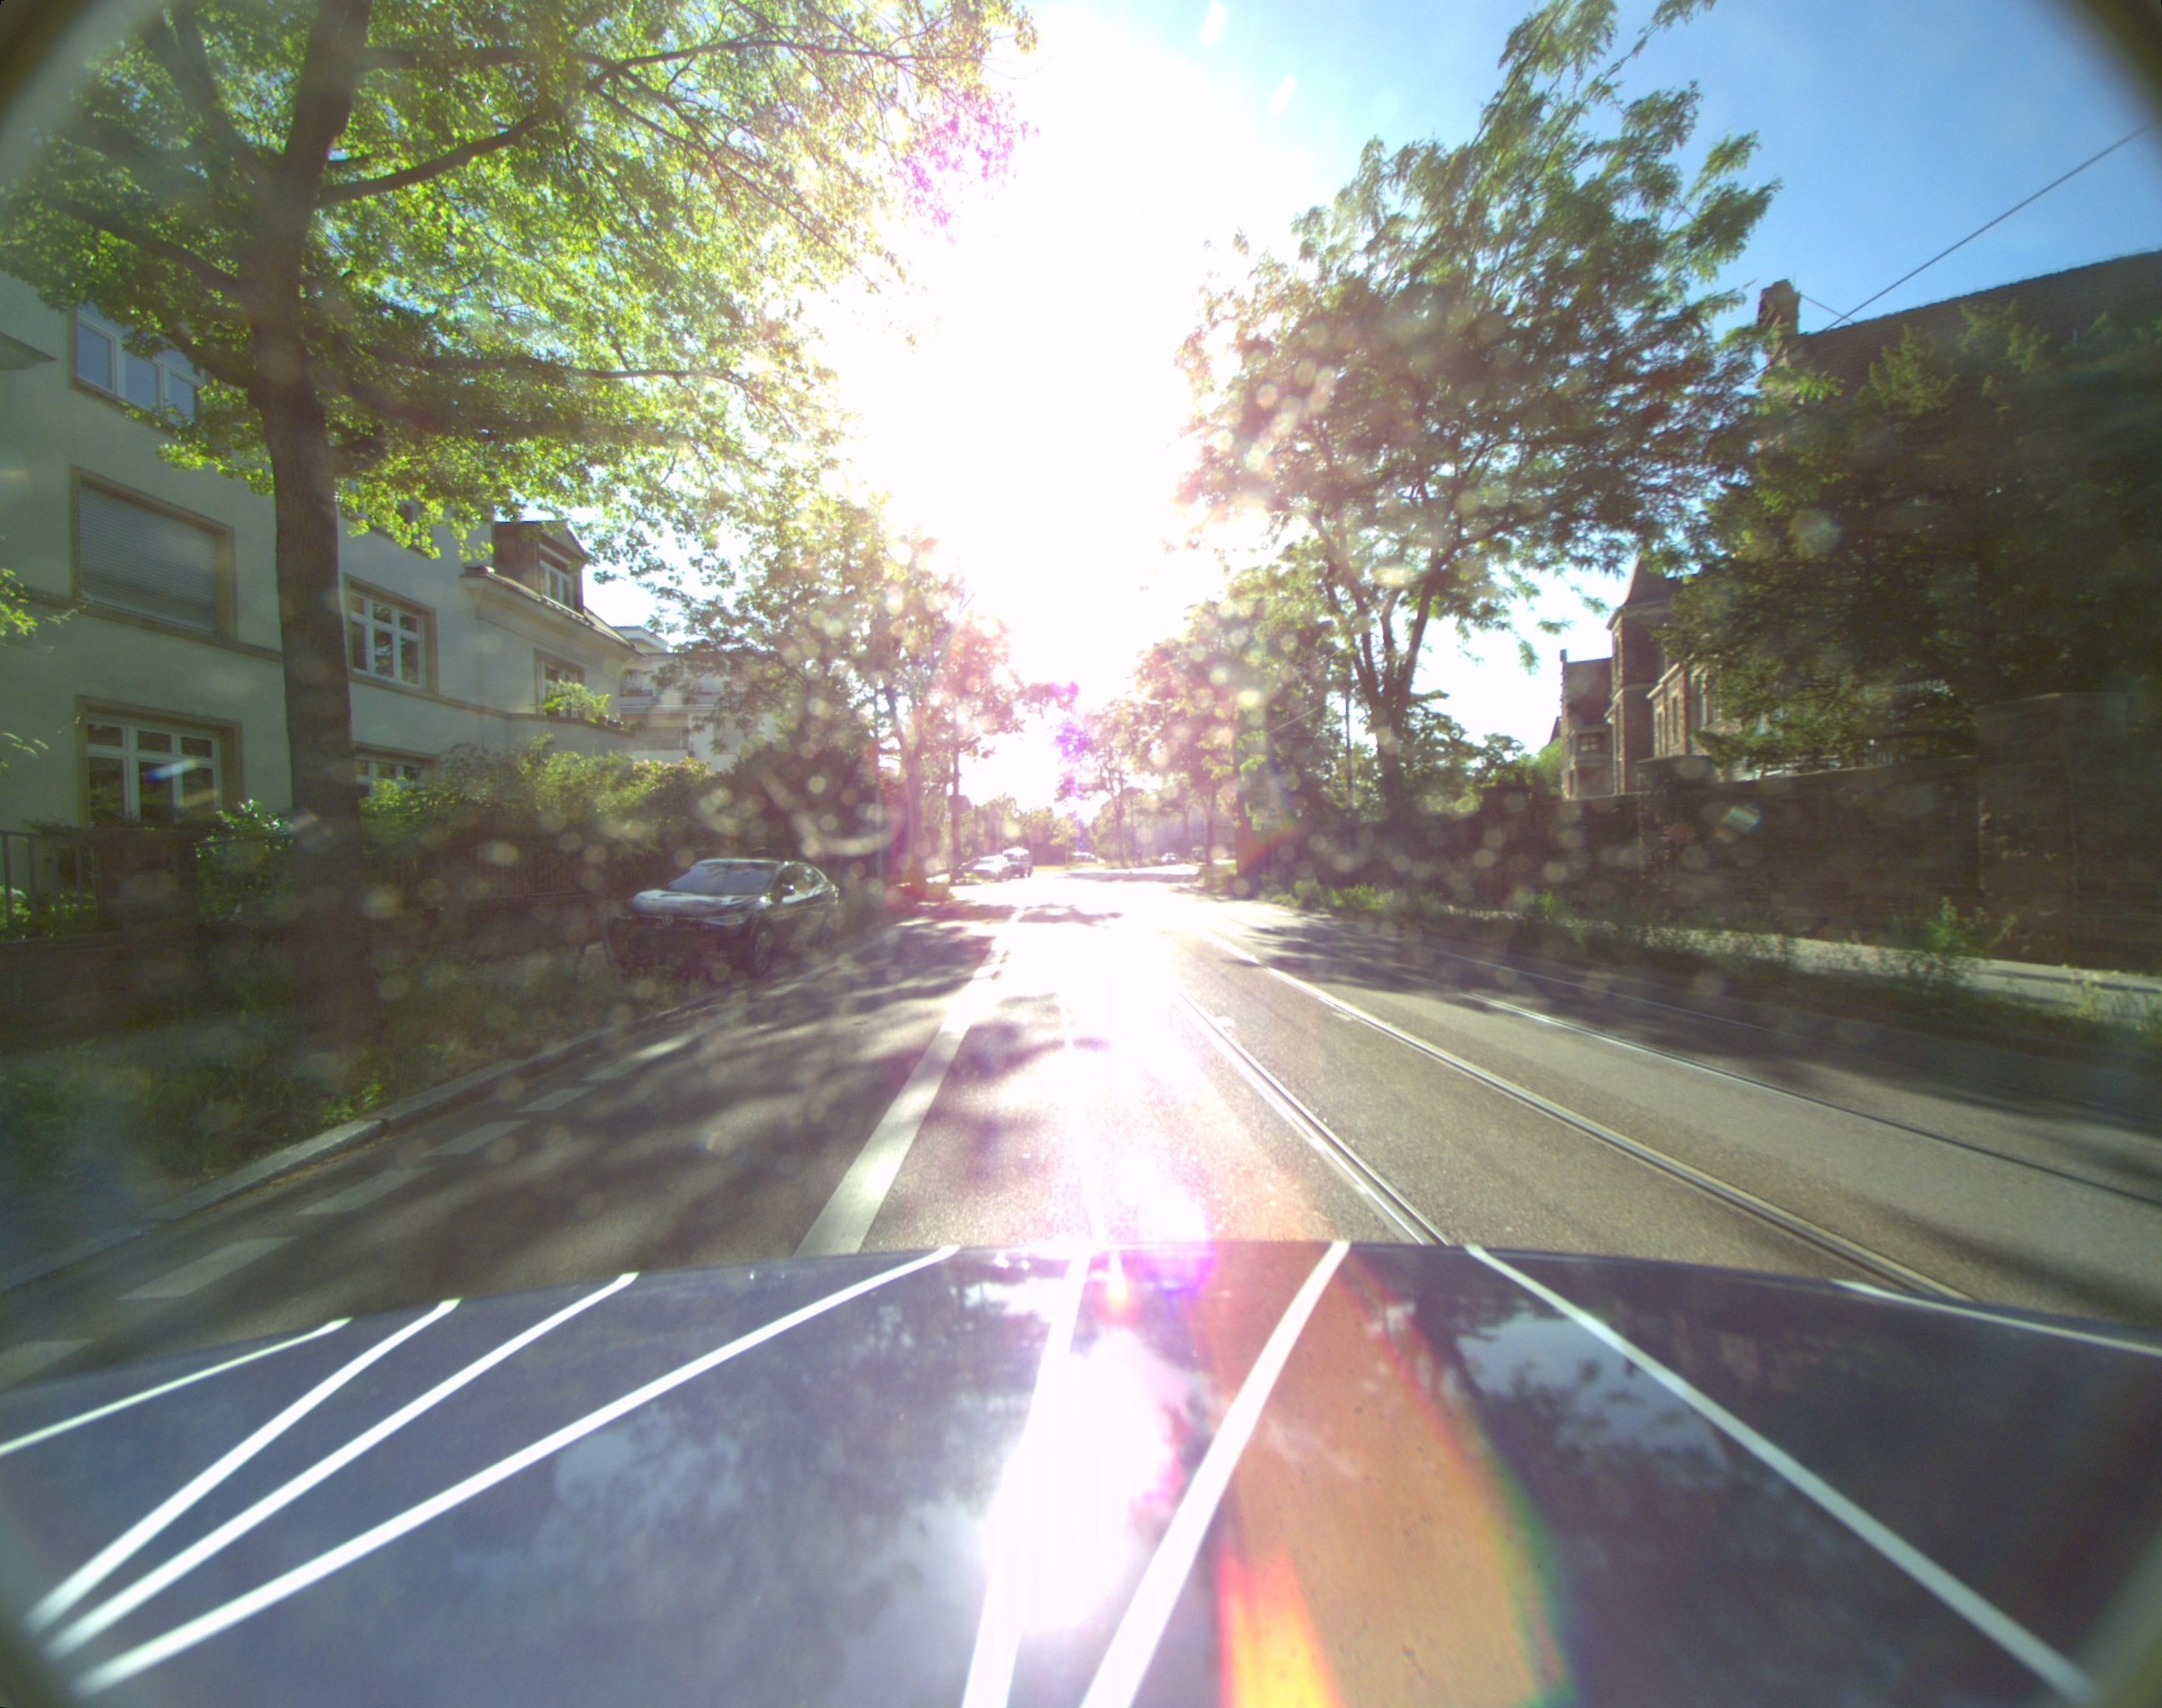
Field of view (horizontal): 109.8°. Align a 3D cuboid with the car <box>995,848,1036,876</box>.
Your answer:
[{"bbox_3d":[-4.404,0.505,51.691,1.900,1.775,4.670,-1,0,6],"label":"car"}]

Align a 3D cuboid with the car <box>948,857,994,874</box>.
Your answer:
[{"bbox_3d":[-10.045,1.044,69.540,3.998,1.433,1.813,-2,0,-3],"label":"car"}]

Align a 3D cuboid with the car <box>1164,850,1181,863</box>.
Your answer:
[{"bbox_3d":[11.910,0.317,98.724,1.997,1.539,4.002,-2,0,8],"label":"car"}]

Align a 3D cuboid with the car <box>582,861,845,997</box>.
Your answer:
[{"bbox_3d":[-5.198,0.946,11.509,1.919,1.590,4.258,2,0,-1],"label":"car"}]

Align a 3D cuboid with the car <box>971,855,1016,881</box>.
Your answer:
[{"bbox_3d":[-5.166,0.793,45.335,1.901,1.402,4.260,-1,0,4],"label":"car"}]

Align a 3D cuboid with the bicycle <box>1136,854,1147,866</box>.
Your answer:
[{"bbox_3d":[5.749,0.552,71.859,0.588,1.105,1.857,-1,0,19],"label":"bicycle"}]

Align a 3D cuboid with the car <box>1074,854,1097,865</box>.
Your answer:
[{"bbox_3d":[0.746,0.917,128.791,3.908,1.683,1.905,-1,0,-1],"label":"car"}]

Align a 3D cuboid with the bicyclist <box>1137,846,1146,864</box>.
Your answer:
[{"bbox_3d":[5.720,0.120,71.839,0.643,1.632,0.666,-2,1,19],"label":"bicyclist"}]
